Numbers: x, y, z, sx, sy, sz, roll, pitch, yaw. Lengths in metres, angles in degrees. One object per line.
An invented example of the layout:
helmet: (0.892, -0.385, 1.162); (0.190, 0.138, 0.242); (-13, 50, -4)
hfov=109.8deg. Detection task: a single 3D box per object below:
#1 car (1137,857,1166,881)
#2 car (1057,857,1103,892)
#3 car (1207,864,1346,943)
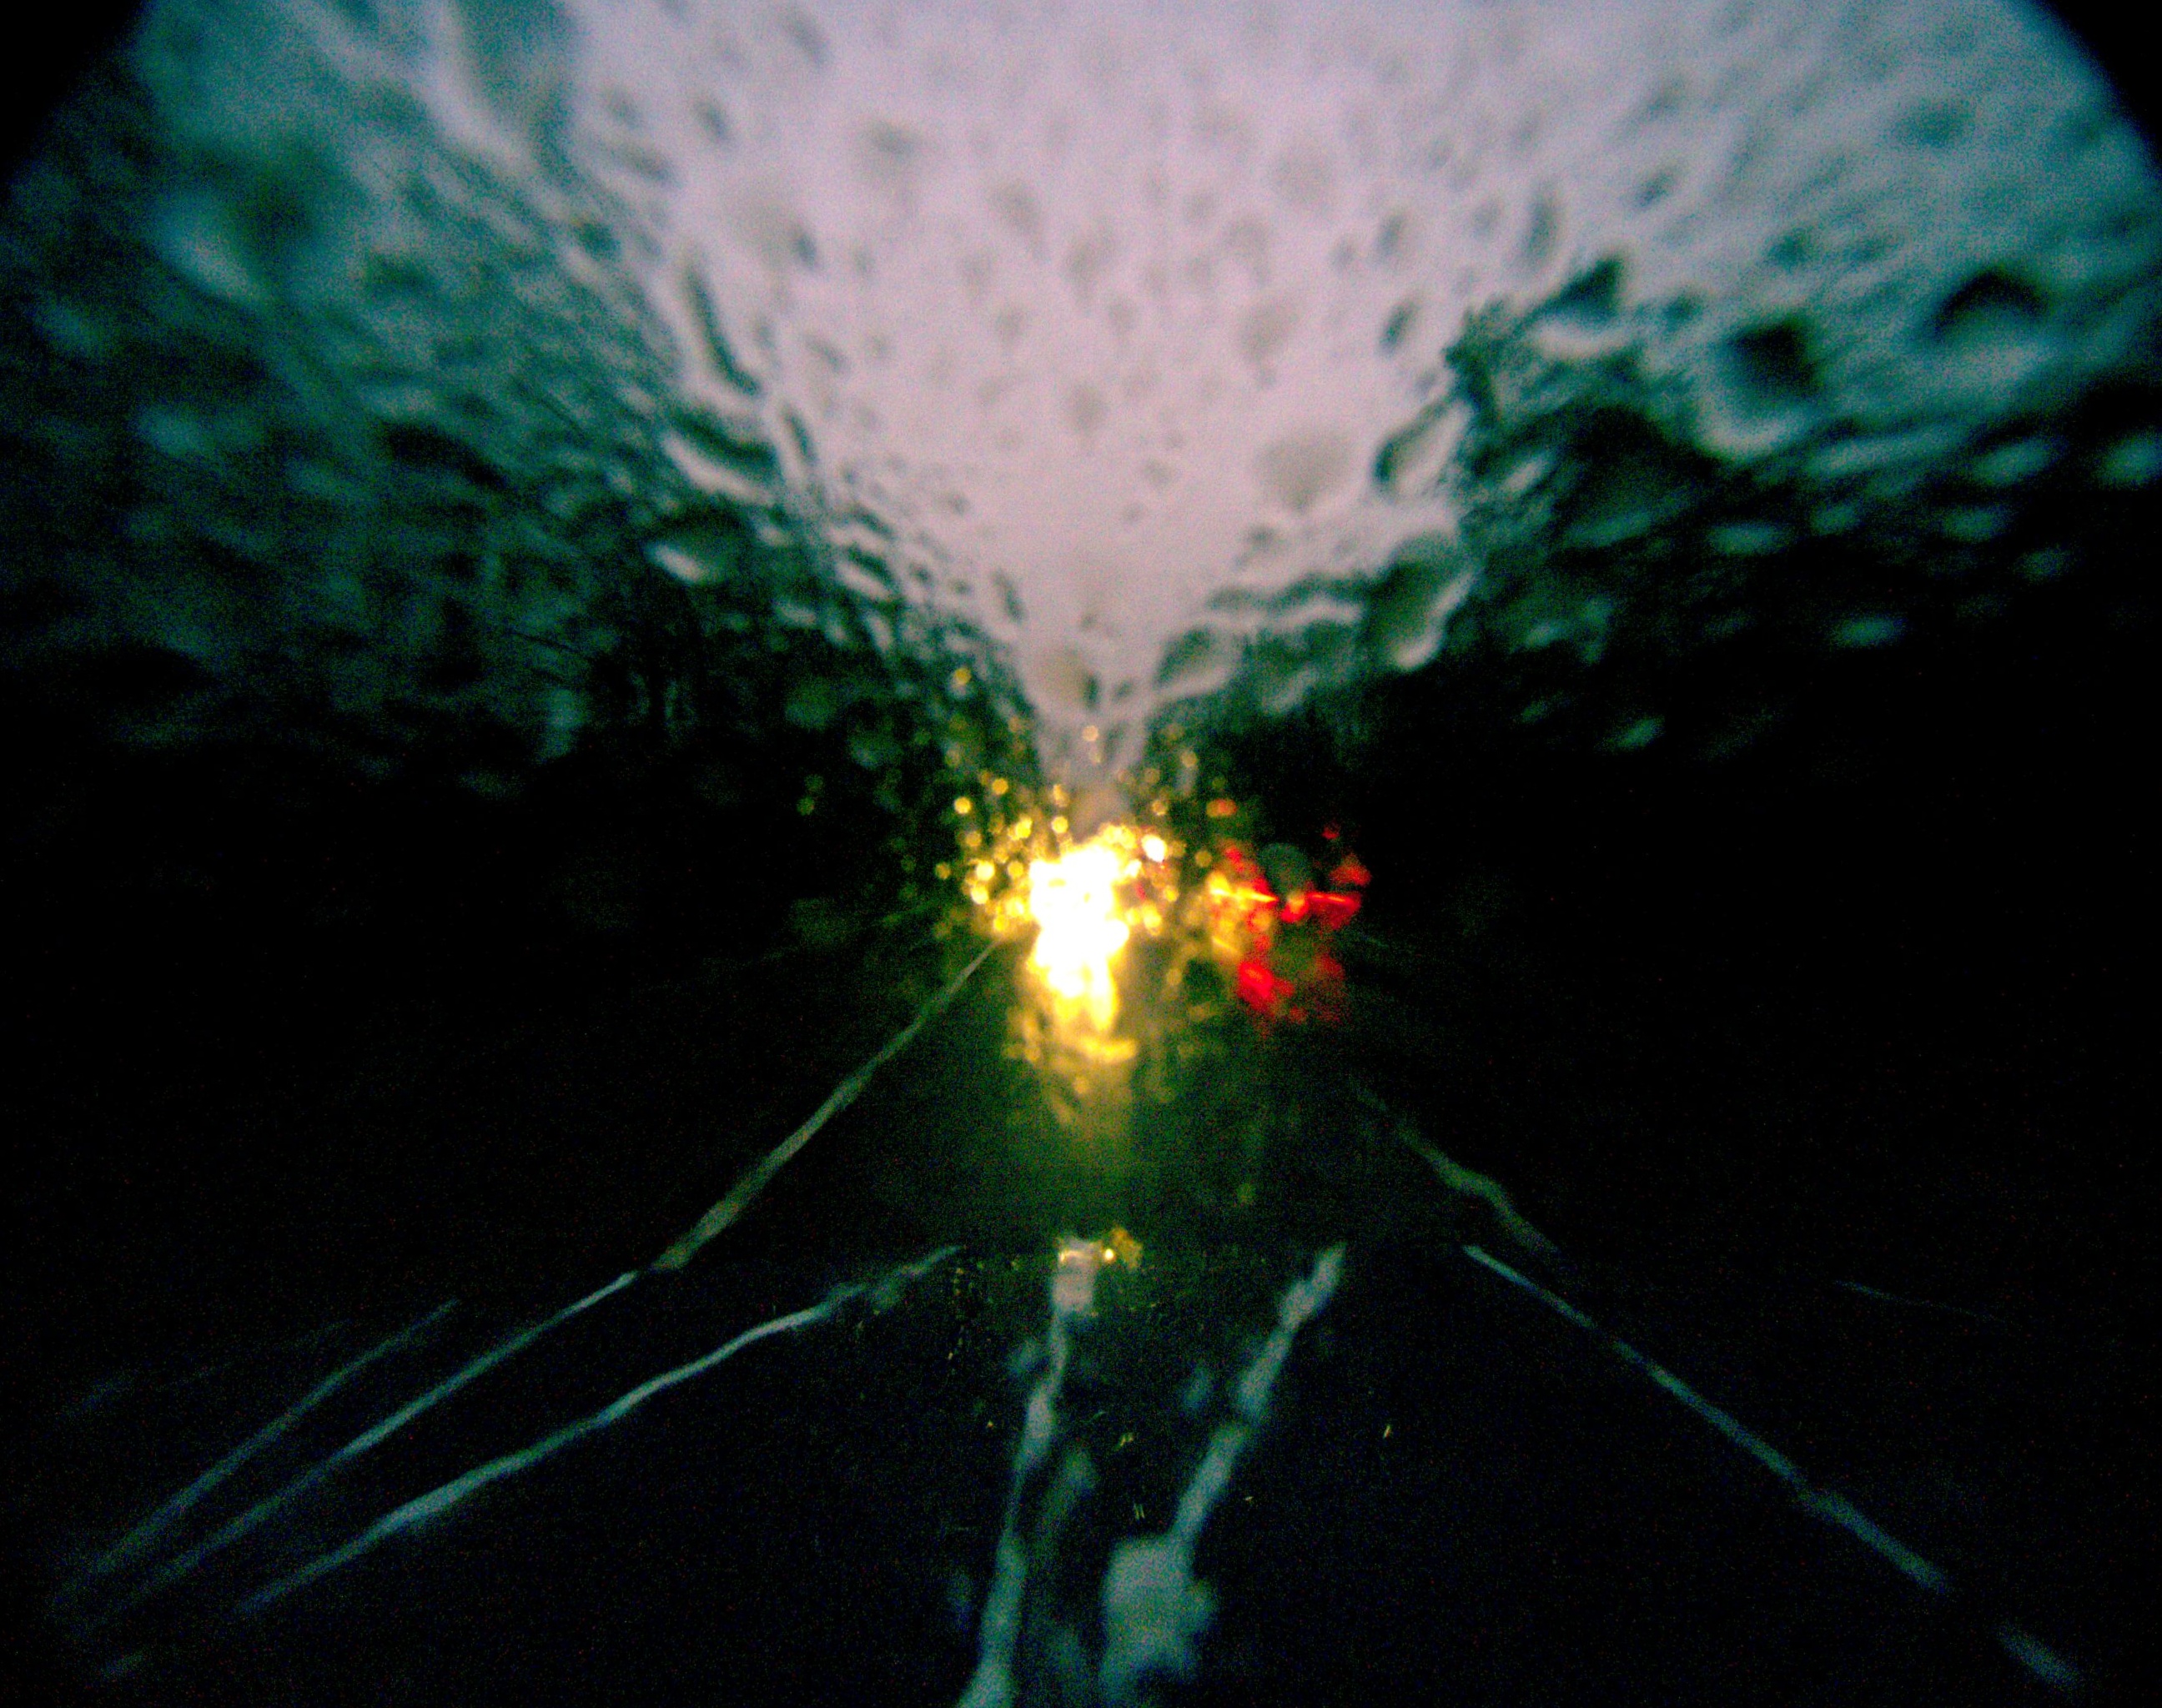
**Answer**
car: (4.343, 0.898, 47.098); (1.517, 1.405, 3.660); (0, 0, 1)
car: (0.000, 0.853, 32.842); (1.845, 1.390, 4.000); (0, 0, 1)
car: (3.838, 0.907, 15.672); (1.708, 1.355, 4.376); (1, 0, 0)
